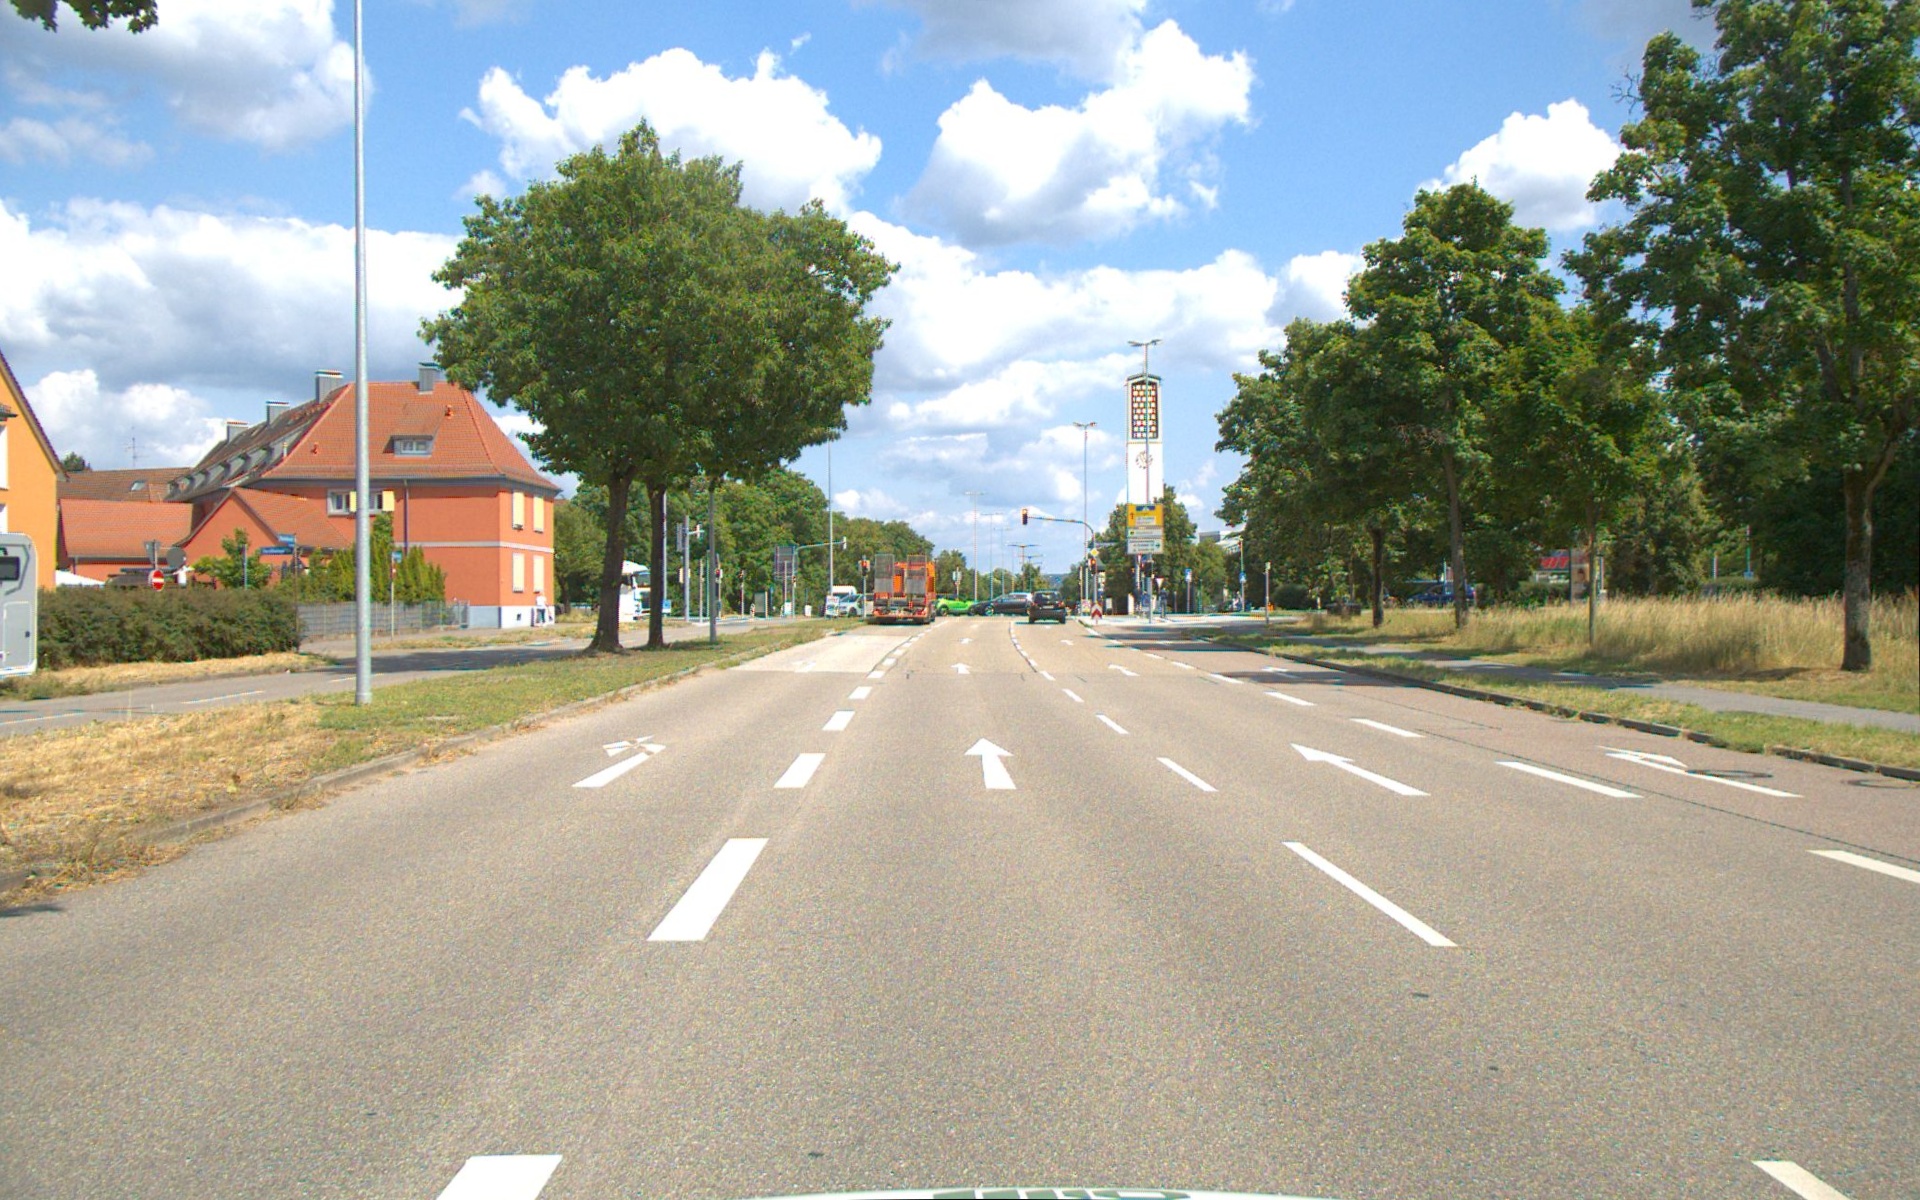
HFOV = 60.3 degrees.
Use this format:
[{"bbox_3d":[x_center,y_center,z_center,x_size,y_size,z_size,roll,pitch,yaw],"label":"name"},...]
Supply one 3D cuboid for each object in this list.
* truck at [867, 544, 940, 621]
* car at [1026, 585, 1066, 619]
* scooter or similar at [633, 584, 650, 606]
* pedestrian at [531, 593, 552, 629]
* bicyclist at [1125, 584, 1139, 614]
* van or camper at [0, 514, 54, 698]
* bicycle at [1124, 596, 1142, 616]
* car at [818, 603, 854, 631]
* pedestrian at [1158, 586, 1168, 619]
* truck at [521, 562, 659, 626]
[{"bbox_3d":[-2.660,-0.740,81.315,3.007,3.474,11.068,2,-1,1],"label":"truck"},{"bbox_3d":[4.232,0.122,81.951,1.762,1.579,4.000,2,-1,1],"label":"car"},{"bbox_3d":[-17.939,-0.289,93.174,0.577,1.184,1.762,2,-1,0],"label":"scooter or similar"},{"bbox_3d":[-18.944,0.491,74.928,0.681,1.611,0.851,2,-1,1],"label":"pedestrian"},{"bbox_3d":[9.793,-0.076,93.952,0.634,1.690,0.650,1,-1,16],"label":"bicyclist"},{"bbox_3d":[-17.604,0.094,26.302,2.212,3.166,7.321,2,0,1],"label":"van or camper"},{"bbox_3d":[9.836,0.346,94.134,0.634,1.127,1.929,1,-1,16],"label":"bicycle"},{"bbox_3d":[-7.348,1.025,98.368,1.697,1.534,4.652,-4,-1,1],"label":"car"},{"bbox_3d":[11.394,0.126,92.787,0.454,1.810,0.482,1,-1,12],"label":"pedestrian"},{"bbox_3d":[-24.606,-0.395,110.091,8.427,4.040,2.971,1,-1,16],"label":"truck"}]
